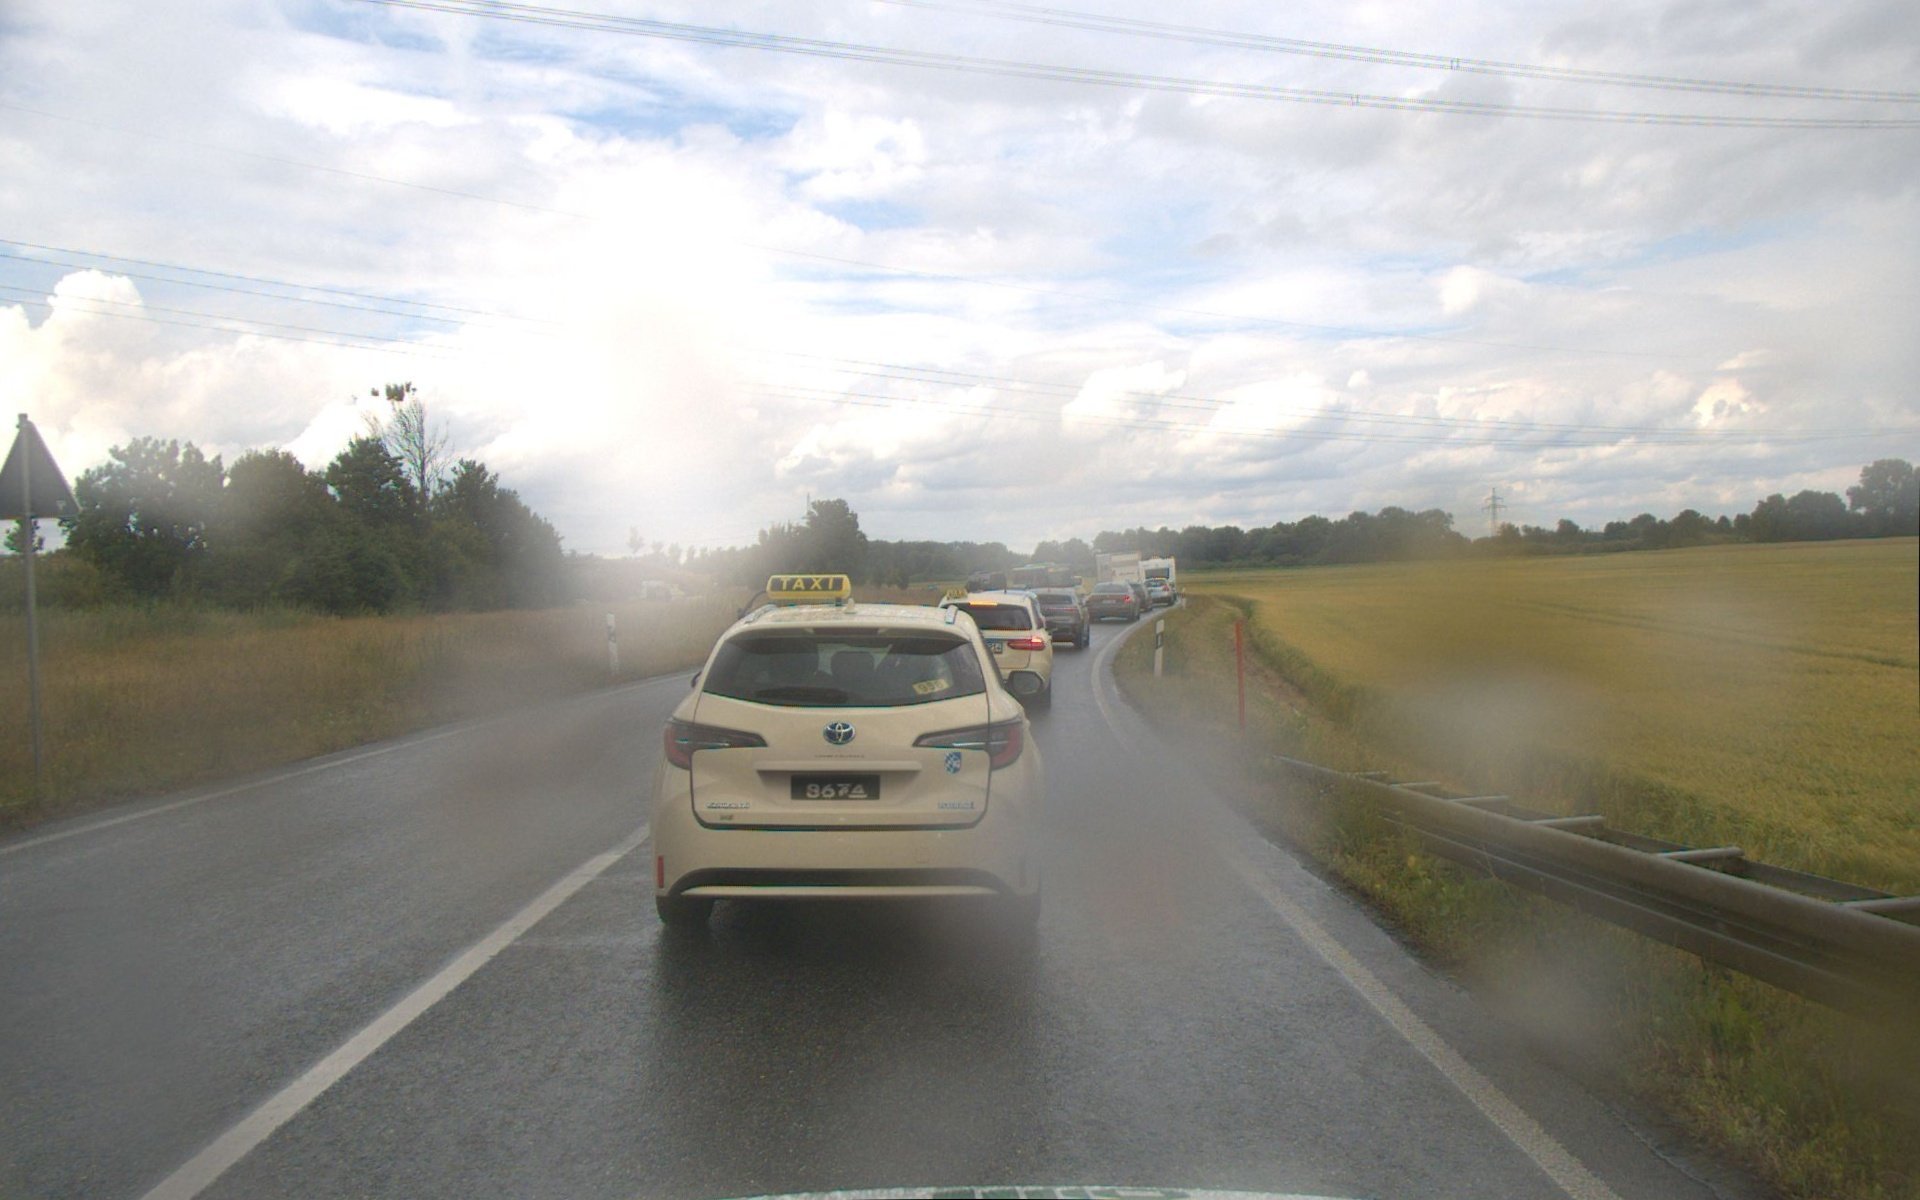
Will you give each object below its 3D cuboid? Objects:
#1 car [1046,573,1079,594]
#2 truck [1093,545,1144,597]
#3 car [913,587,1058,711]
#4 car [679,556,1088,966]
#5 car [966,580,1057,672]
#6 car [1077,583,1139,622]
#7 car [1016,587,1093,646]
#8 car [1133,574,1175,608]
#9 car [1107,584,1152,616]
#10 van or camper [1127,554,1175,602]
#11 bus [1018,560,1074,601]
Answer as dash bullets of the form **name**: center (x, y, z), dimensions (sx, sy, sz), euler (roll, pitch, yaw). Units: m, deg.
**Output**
- **car**: center (9.366, -1.498, 151.279), dimensions (1.851, 1.804, 4.144), euler (1, -1, -15)
- **truck**: center (12.643, -2.279, 132.551), dimensions (3.064, 3.920, 7.382), euler (1, -1, -3)
- **car**: center (0.441, 0.596, 23.001), dimensions (1.803, 1.518, 4.610), euler (0, 1, 3)
- **car**: center (-0.401, 0.647, 8.331), dimensions (1.581, 1.589, 3.735), euler (1, -1, -4)
- **car**: center (1.063, 0.504, 32.616), dimensions (1.579, 1.688, 3.740), euler (1, -1, 5)
- **car**: center (5.831, 0.123, 64.809), dimensions (1.918, 1.438, 4.396), euler (0, -1, 12)
- **car**: center (2.454, 0.423, 42.337), dimensions (1.578, 1.438, 3.741), euler (0, -1, 9)
- **car**: center (10.517, -0.487, 89.524), dimensions (1.918, 1.759, 3.741), euler (0, -1, 11)
- **car**: center (8.093, 0.019, 78.814), dimensions (1.786, 1.438, 3.741), euler (0, -1, 11)
- **van or camper**: center (12.052, -1.390, 104.882), dimensions (2.484, 2.946, 6.745), euler (0, 1, 2)
- **bus**: center (7.293, -1.643, 142.126), dimensions (2.705, 3.355, 12.484), euler (0, 1, -7)
